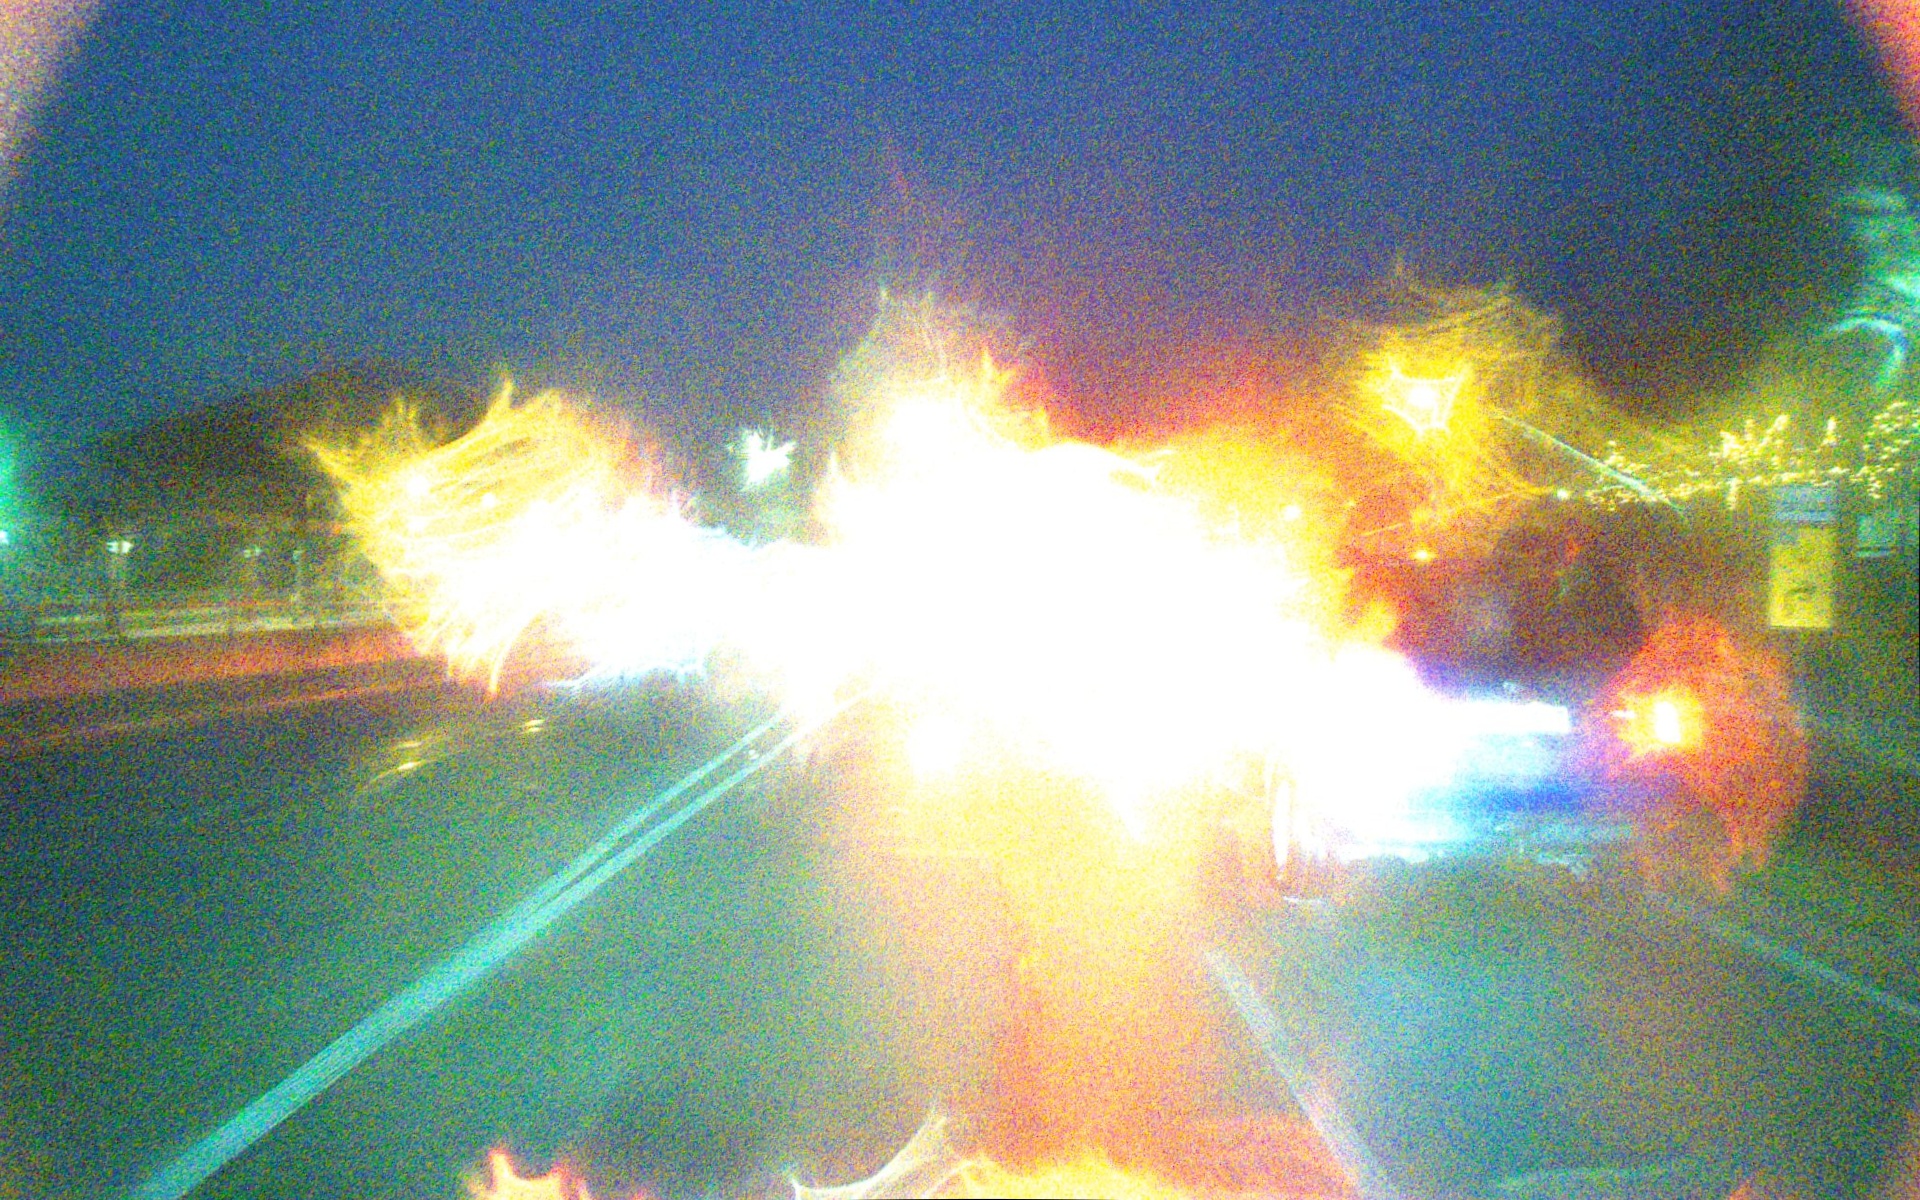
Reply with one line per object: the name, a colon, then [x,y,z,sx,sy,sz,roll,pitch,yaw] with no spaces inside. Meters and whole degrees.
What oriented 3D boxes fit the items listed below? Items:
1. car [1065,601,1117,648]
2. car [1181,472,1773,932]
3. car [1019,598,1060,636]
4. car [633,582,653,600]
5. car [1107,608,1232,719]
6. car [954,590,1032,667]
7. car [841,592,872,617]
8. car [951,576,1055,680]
car: [4.306,0.788,54.393,1.628,1.475,4.052,0,0,4]
car: [2.571,0.433,9.406,1.903,2.006,4.217,1,1,-2]
car: [3.244,0.700,67.901,1.629,1.475,4.051,1,0,2]
car: [-35.189,-0.991,183.711,1.956,1.945,4.734,1,0,-8]
car: [3.170,0.908,25.481,1.730,1.475,4.221,1,1,6]
car: [0.813,0.623,38.250,1.673,1.666,3.732,0,0,3]
car: [-6.603,0.254,105.479,1.676,1.525,3.724,0,0,-8]
car: [0.780,0.470,28.983,1.659,1.658,3.854,1,0,2]
